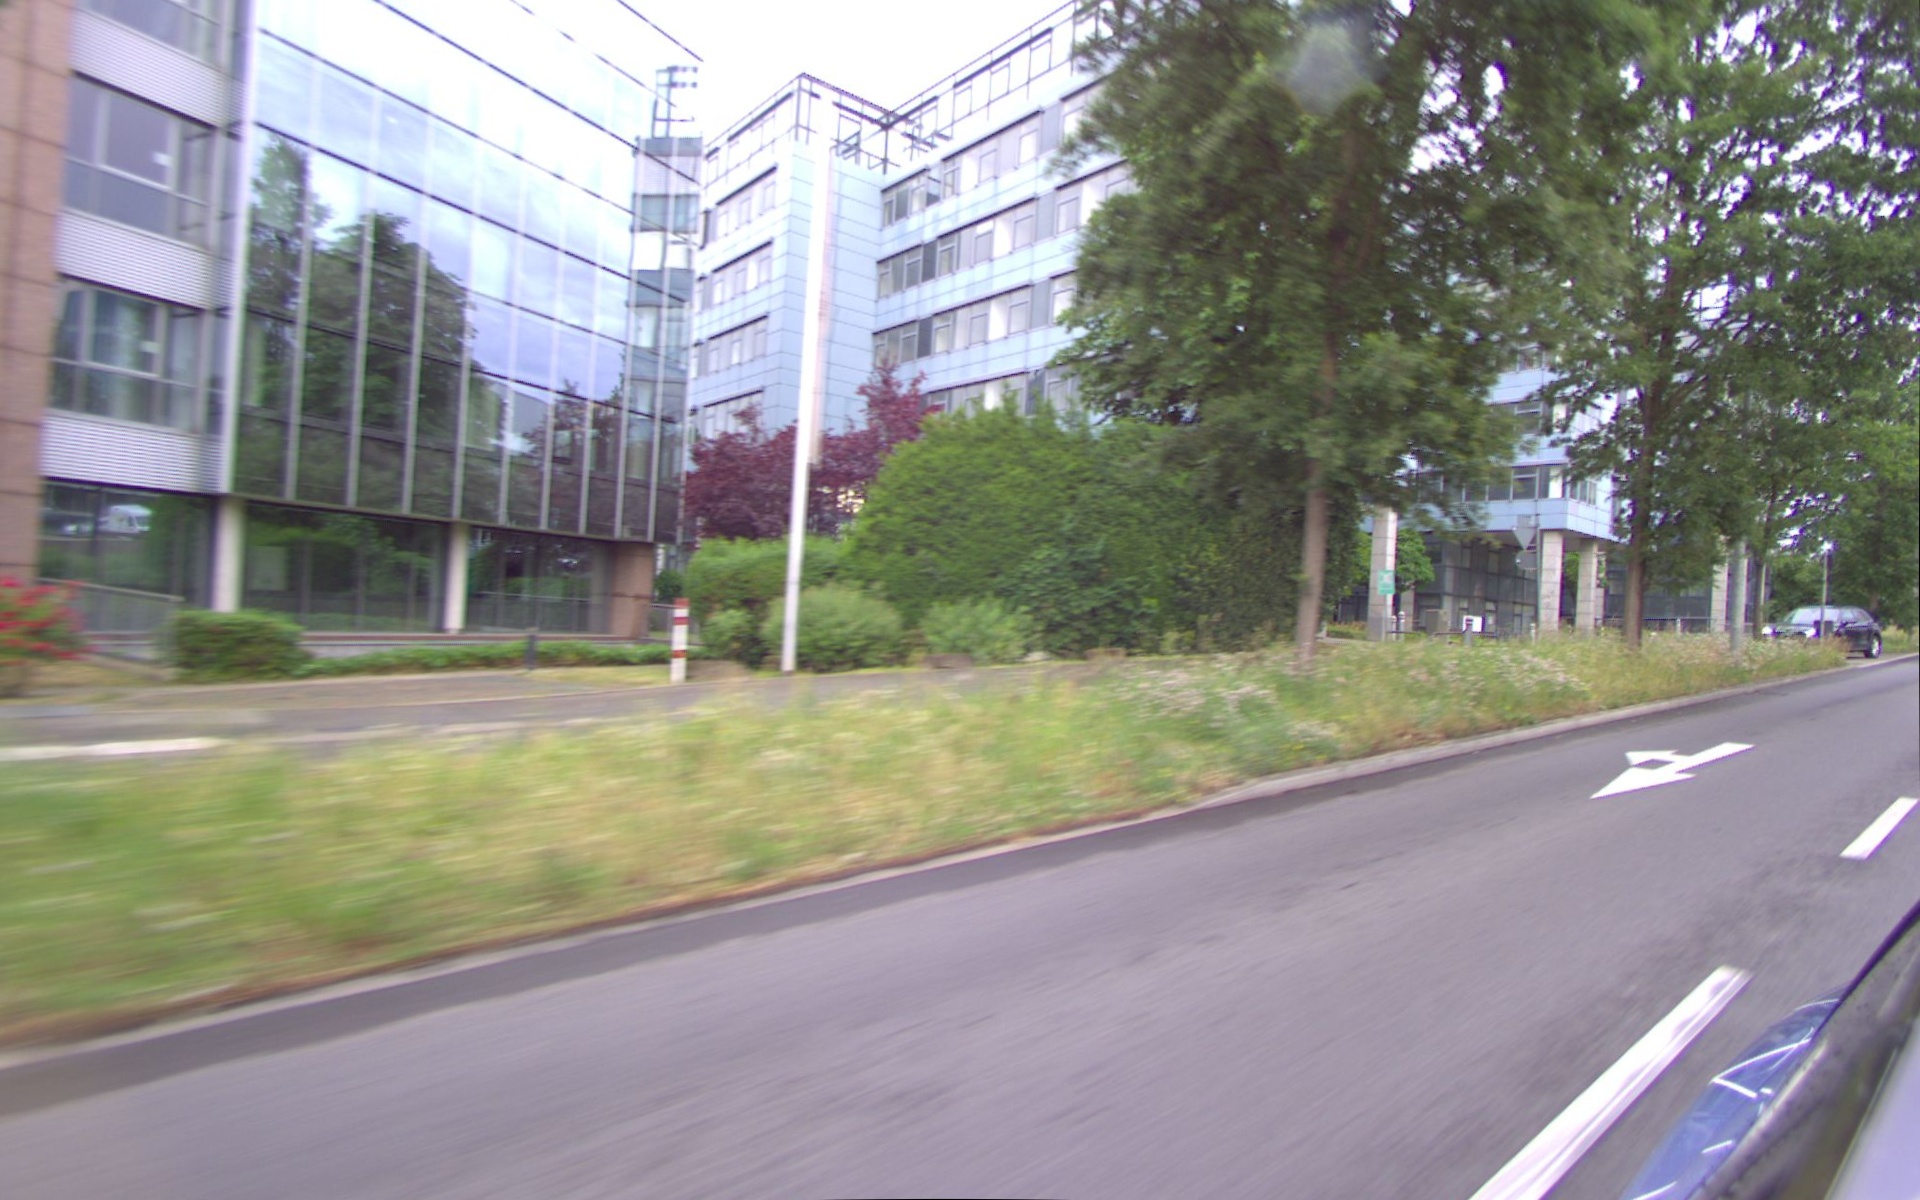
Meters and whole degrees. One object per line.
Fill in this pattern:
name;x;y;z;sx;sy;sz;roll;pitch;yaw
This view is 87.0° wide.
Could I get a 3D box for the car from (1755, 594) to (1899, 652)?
car;27.285;0.717;31.855;4.279;1.691;1.820;1;0;-25
